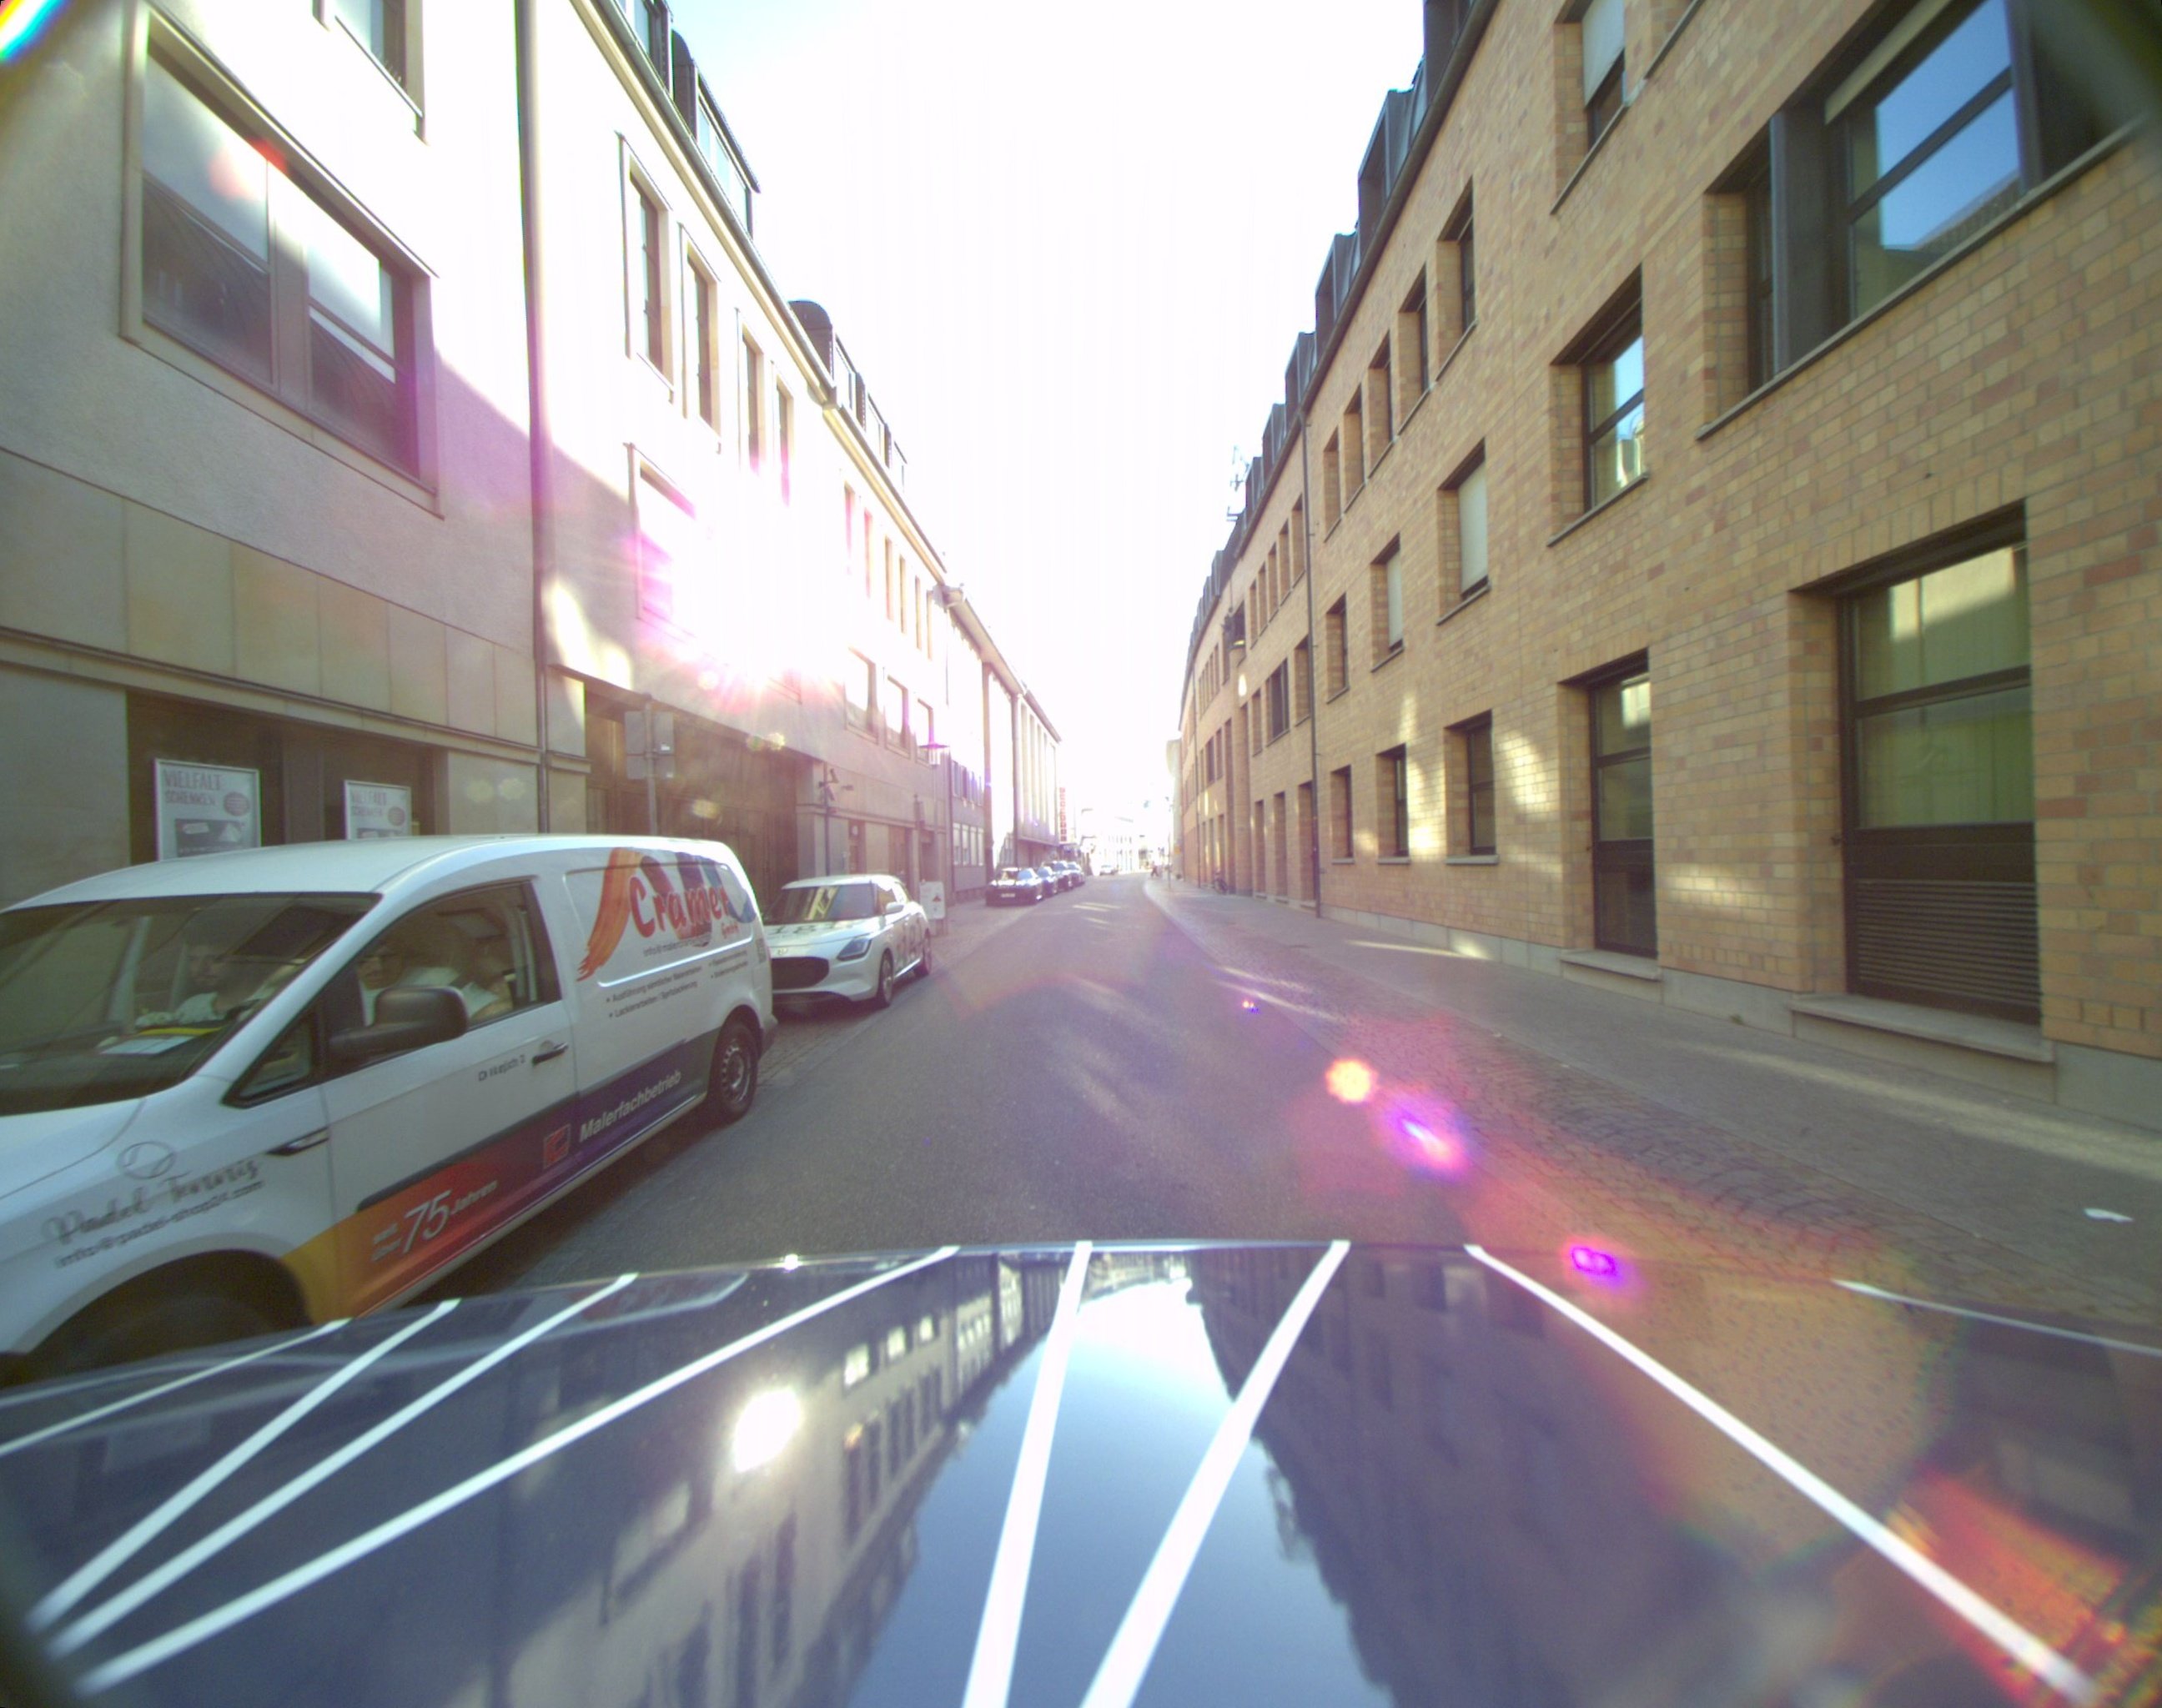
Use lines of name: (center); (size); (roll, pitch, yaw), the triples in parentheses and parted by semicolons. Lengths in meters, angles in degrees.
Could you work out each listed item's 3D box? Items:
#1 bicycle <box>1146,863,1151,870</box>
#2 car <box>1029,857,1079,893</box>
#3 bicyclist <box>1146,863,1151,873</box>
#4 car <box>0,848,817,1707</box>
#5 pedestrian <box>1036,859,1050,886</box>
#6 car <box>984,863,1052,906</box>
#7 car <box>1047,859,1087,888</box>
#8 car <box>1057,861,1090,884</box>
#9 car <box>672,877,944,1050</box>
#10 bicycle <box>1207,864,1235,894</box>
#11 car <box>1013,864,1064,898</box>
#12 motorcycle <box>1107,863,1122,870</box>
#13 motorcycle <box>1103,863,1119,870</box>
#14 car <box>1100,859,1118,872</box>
bicycle: (10.875, 1.990, 122.679); (0.652, 1.125, 1.737); (2, 1, 9)
car: (-1.440, 1.118, 42.764); (2.108, 1.775, 5.054); (-3, 0, 5)
bicyclist: (10.871, 2.217, 122.753); (0.663, 1.633, 0.926); (2, 1, 9)
car: (-2.942, 0.923, 3.165); (1.835, 1.780, 5.213); (-3, 0, -1)
pedestrian: (-2.483, 1.204, 49.825); (0.790, 1.711, 0.747); (1, 0, 4)
car: (-2.435, 1.168, 30.582); (1.898, 1.444, 5.227); (-3, 0, 4)
car: (-0.860, 1.236, 49.887); (1.998, 1.692, 4.845); (-4, -1, 5)
car: (-0.500, 1.327, 55.556); (1.827, 1.495, 4.601); (-5, -1, 5)
car: (-3.025, 1.121, 9.472); (1.845, 1.469, 4.168); (-4, 0, -1)
bicycle: (5.883, 1.042, 32.012); (0.633, 1.155, 1.803); (-4, 0, -5)
car: (-1.972, 1.245, 36.602); (1.811, 1.404, 4.791); (-4, 0, 3)
motorcycle: (4.766, 1.810, 106.838); (1.995, 0.950, 0.646); (-2, 0, 19)
motorcycle: (4.098, 1.721, 102.976); (1.995, 0.950, 0.646); (-2, 0, 19)
car: (3.576, 1.453, 95.772); (1.846, 1.453, 4.001); (-3, 0, 6)
